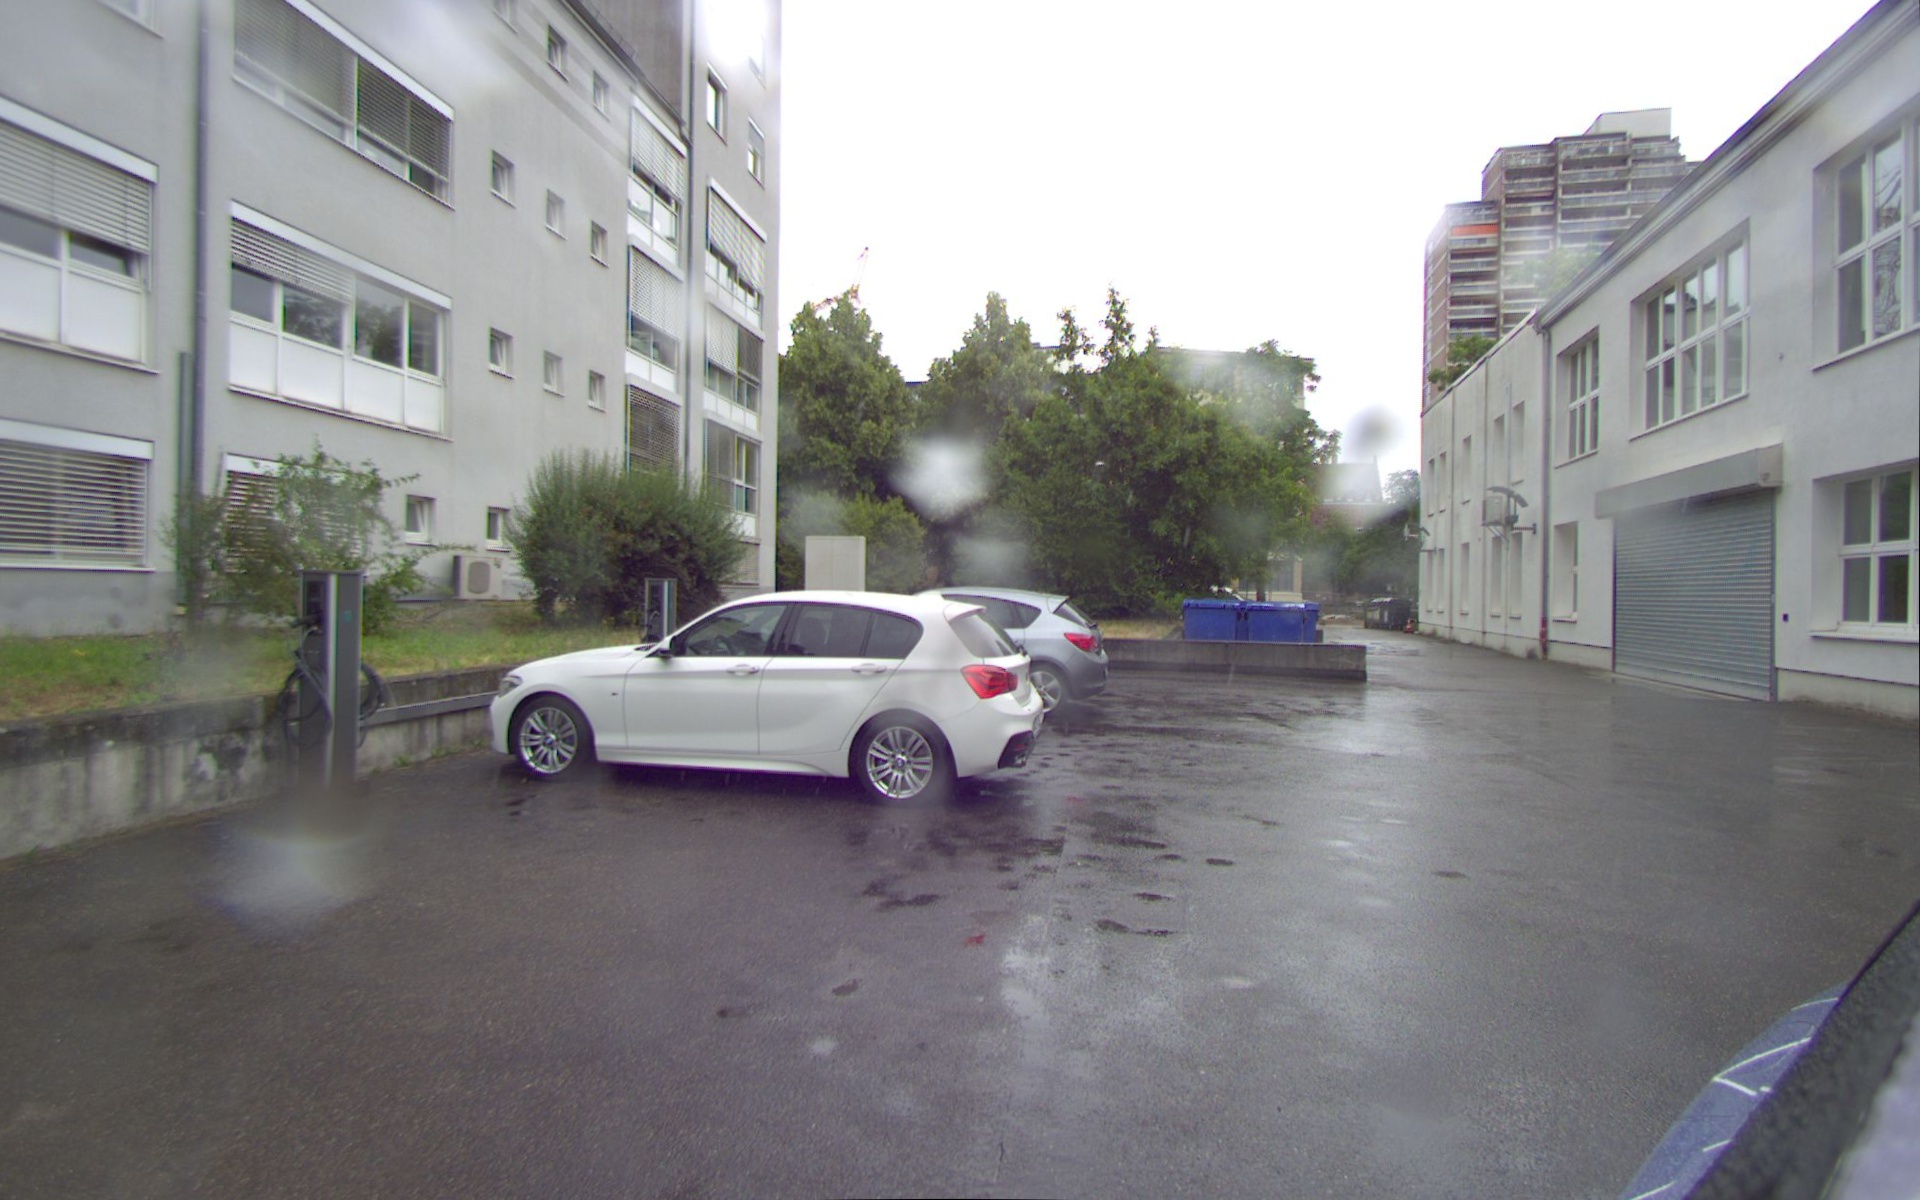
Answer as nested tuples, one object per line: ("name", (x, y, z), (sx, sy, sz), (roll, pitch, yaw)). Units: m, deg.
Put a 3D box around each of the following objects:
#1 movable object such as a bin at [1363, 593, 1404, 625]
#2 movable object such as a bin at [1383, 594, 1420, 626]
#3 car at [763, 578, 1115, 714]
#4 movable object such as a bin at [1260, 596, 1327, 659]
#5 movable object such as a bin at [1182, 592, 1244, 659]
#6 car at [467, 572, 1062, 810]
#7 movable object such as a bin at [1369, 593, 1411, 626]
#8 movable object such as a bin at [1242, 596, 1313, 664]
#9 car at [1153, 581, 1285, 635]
("movable object such as a bin", (19.902, 0.451, 47.615), (1.468, 1.467, 1.309), (0, -2, 10))
("movable object such as a bin", (19.507, 0.472, 44.727), (1.169, 1.392, 1.309), (0, -2, 10))
("car", (-0.169, 0.512, 12.869), (4.155, 1.508, 1.993), (1, 0, 11))
("movable object such as a bin", (7.583, 0.637, 23.138), (1.294, 1.375, 1.896), (-1, -2, 14))
("movable object such as a bin", (5.425, 0.548, 21.749), (1.215, 1.375, 1.961), (-1, -2, 14))
("car", (-1.368, 0.580, 7.942), (4.155, 1.508, 1.993), (1, 0, 11))
("movable object such as a bin", (19.666, 0.444, 46.290), (1.468, 1.467, 1.309), (0, -2, 10))
("movable object such as a bin", (6.682, 0.631, 21.408), (1.294, 1.375, 1.896), (-1, -2, 14))
("car", (9.678, 0.359, 37.881), (4.633, 1.906, 2.110), (-1, -3, 17))
